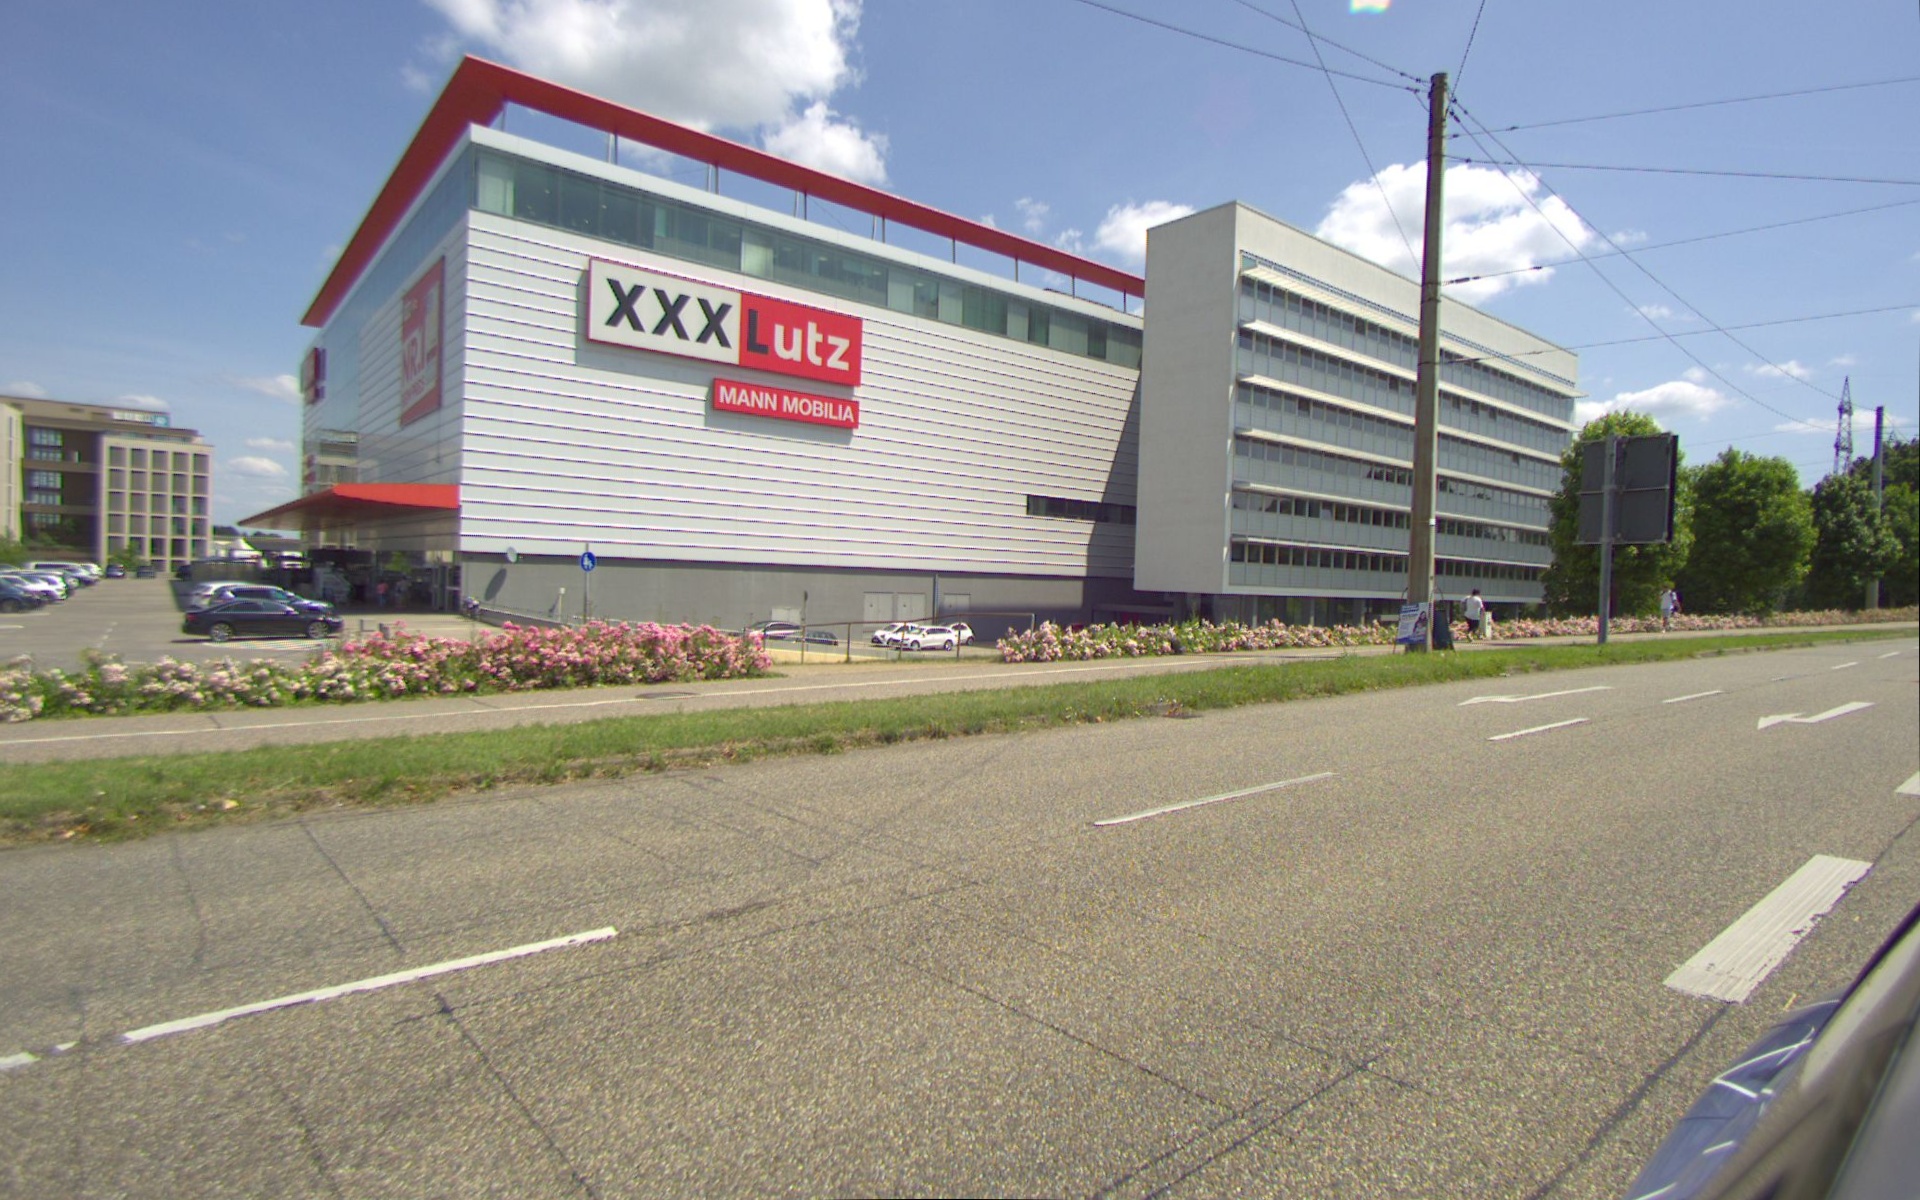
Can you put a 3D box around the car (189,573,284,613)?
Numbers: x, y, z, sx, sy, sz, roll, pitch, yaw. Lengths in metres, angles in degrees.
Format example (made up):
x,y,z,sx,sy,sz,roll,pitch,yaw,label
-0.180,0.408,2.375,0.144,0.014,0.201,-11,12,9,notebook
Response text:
x,y,z,sx,sy,sz,roll,pitch,yaw,label
-38.277,-0.417,53.578,3.930,2.039,1.997,-1,1,-41,car

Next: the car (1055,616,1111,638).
x,y,z,sx,sy,sz,roll,pitch,yaw,label
9.128,1.973,74.752,3.930,1.465,1.997,-1,1,-41,car

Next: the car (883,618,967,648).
x,y,z,sx,sy,sz,roll,pitch,yaw,label
-2.098,2.019,62.366,5.057,1.632,1.997,-1,1,-41,car

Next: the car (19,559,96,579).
x,y,z,sx,sy,sz,roll,pitch,yaw,label
-78.135,-2.687,87.745,4.913,1.631,1.997,0,1,-41,car

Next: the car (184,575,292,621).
x,y,z,sx,sy,sz,roll,pitch,yaw,label
-33.522,-0.142,47.032,3.930,2.039,1.997,-1,1,-41,car

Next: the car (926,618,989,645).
x,y,z,sx,sy,sz,roll,pitch,yaw,label
-0.147,2.064,67.503,3.930,1.632,1.997,-1,1,-41,car

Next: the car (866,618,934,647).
x,y,z,sx,sy,sz,roll,pitch,yaw,label
-3.761,2.009,64.108,3.930,1.632,1.997,-1,1,-41,car

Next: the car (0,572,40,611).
x,y,z,sx,sy,sz,roll,pitch,yaw,label
-47.683,-0.411,48.671,5.094,1.888,1.996,0,1,-42,car

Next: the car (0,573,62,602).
x,y,z,sx,sy,sz,roll,pitch,yaw,label
-53.675,-0.713,56.748,4.913,1.631,1.997,0,1,-41,car

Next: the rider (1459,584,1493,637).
x,y,z,sx,sy,sz,roll,pitch,yaw,label
14.458,0.280,28.372,0.607,1.476,0.670,0,0,-41,rider

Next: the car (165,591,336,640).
x,y,z,sx,sy,sz,roll,pitch,yaw,label
-25.469,0.510,36.431,4.913,1.631,1.997,0,1,-41,car

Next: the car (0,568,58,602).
x,y,z,sx,sy,sz,roll,pitch,yaw,label
-58.533,-0.934,62.692,3.930,2.039,1.997,-1,1,-41,car

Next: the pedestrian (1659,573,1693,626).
x,y,z,sx,sy,sz,roll,pitch,yaw,label
25.578,-0.020,36.144,0.913,1.872,0.758,0,0,-38,pedestrian

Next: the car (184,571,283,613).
x,y,z,sx,sy,sz,roll,pitch,yaw,label
-36.849,-0.410,51.346,3.930,2.039,1.997,0,1,-41,car

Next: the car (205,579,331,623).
x,y,z,sx,sy,sz,roll,pitch,yaw,label
-29.555,0.042,43.273,4.257,1.804,1.997,0,0,-41,car

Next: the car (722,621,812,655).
x,y,z,sx,sy,sz,roll,pitch,yaw,label
-10.616,2.048,55.722,4.509,1.632,1.997,-1,1,-41,car

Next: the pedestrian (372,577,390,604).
x,y,z,sx,sy,sz,roll,pitch,yaw,label
-33.194,-0.548,58.021,0.723,1.577,0.741,0,0,-42,pedestrian

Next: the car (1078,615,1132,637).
x,y,z,sx,sy,sz,roll,pitch,yaw,label
10.459,1.846,72.919,3.930,1.403,1.646,-1,1,-41,car

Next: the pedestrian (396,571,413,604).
x,y,z,sx,sy,sz,roll,pitch,yaw,label
-32.362,-0.721,58.911,0.723,1.892,0.741,0,0,-42,pedestrian

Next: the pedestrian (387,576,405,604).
x,y,z,sx,sy,sz,roll,pitch,yaw,label
-32.056,-0.568,57.521,0.723,1.577,0.741,0,0,-42,pedestrian

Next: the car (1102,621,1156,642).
x,y,z,sx,sy,sz,roll,pitch,yaw,label
11.874,2.183,70.820,3.930,1.338,1.607,-1,1,-41,car
